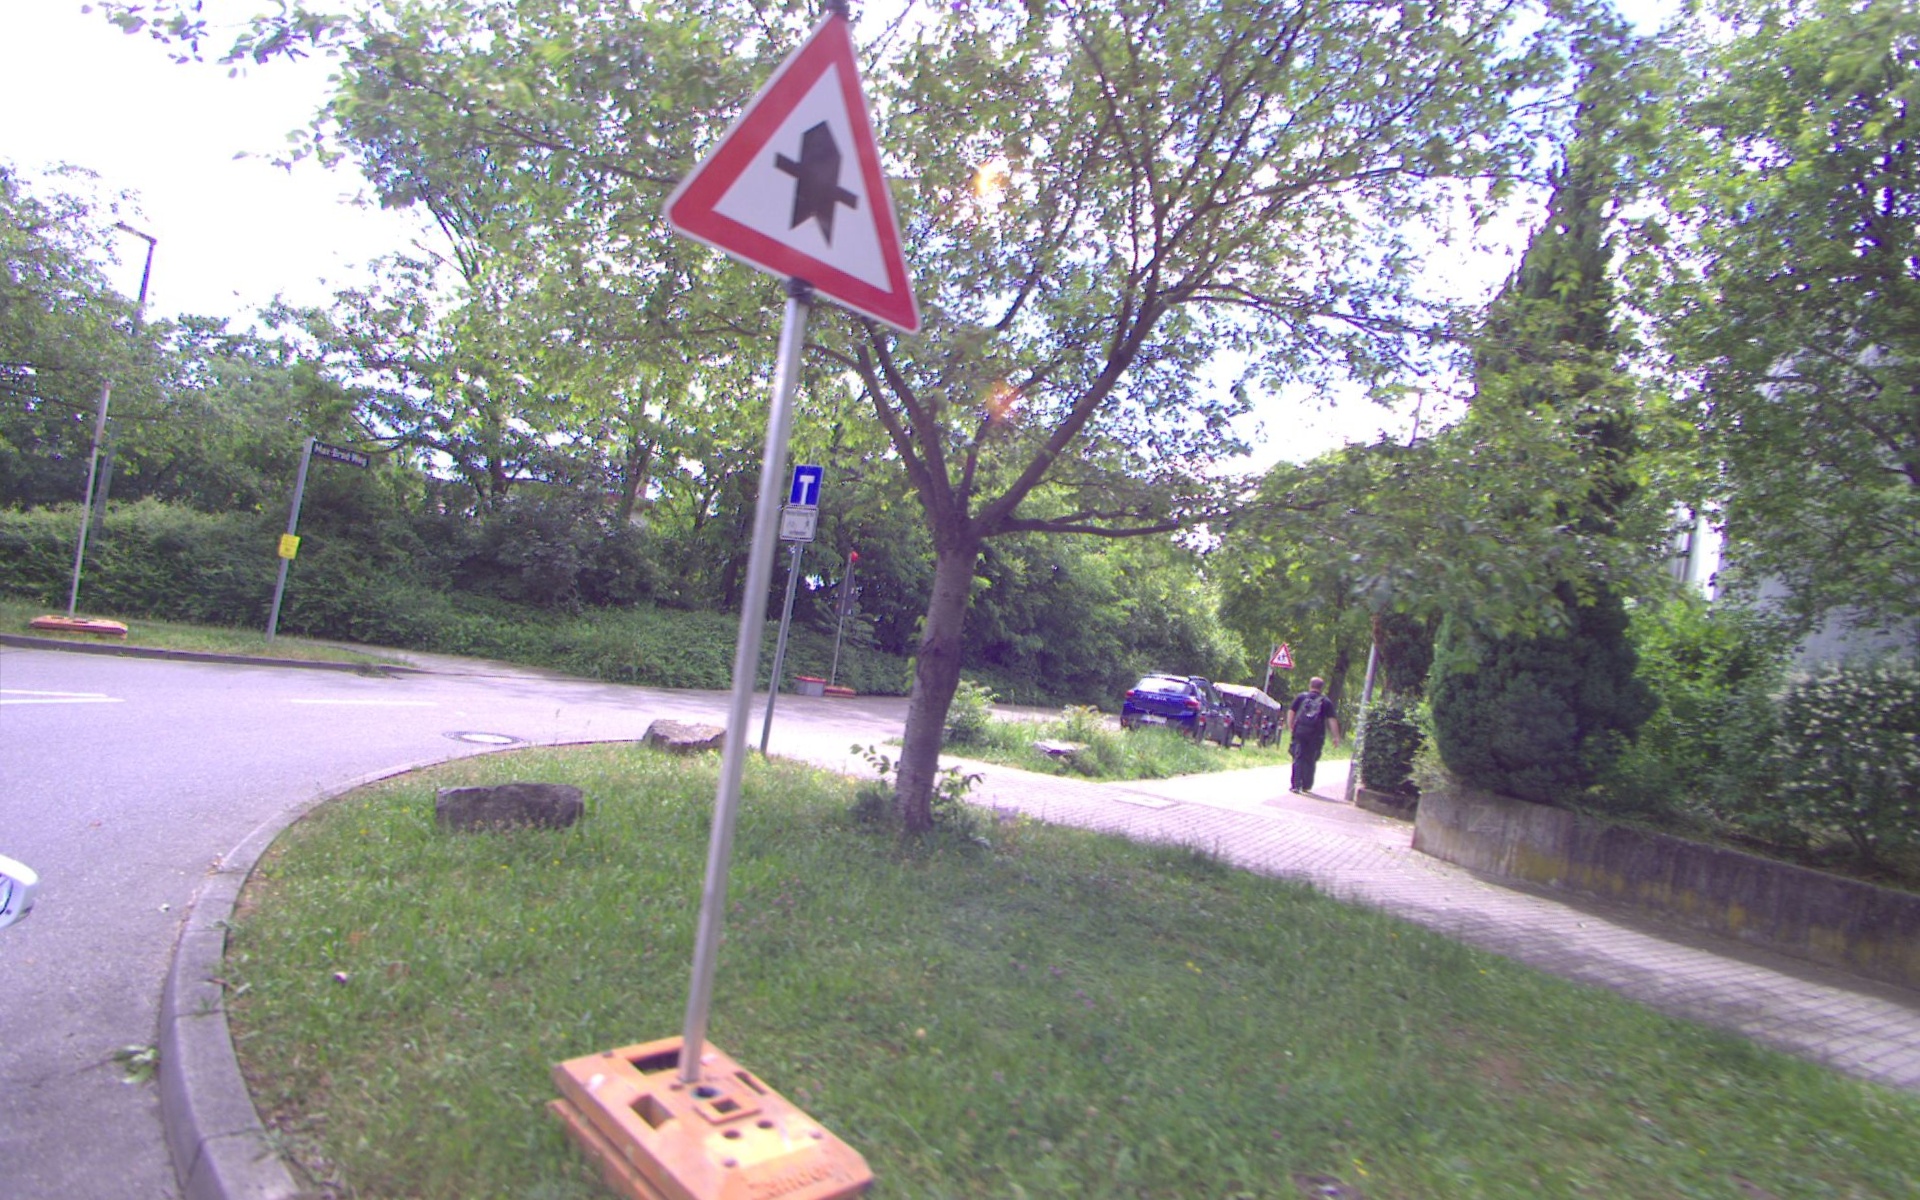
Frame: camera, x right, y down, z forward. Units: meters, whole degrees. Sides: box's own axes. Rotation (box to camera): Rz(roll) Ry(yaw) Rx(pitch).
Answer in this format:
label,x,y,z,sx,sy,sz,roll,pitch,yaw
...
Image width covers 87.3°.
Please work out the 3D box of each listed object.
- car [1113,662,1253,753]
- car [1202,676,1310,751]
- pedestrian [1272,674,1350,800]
label,x,y,z,sx,sy,sz,roll,pitch,yaw
car,5.124,2.460,22.740,1.700,1.680,3.996,6,-3,32
car,8.183,3.131,27.562,1.700,1.680,3.996,6,-3,32
pedestrian,5.338,2.074,15.284,0.773,1.756,0.834,6,-2,32
